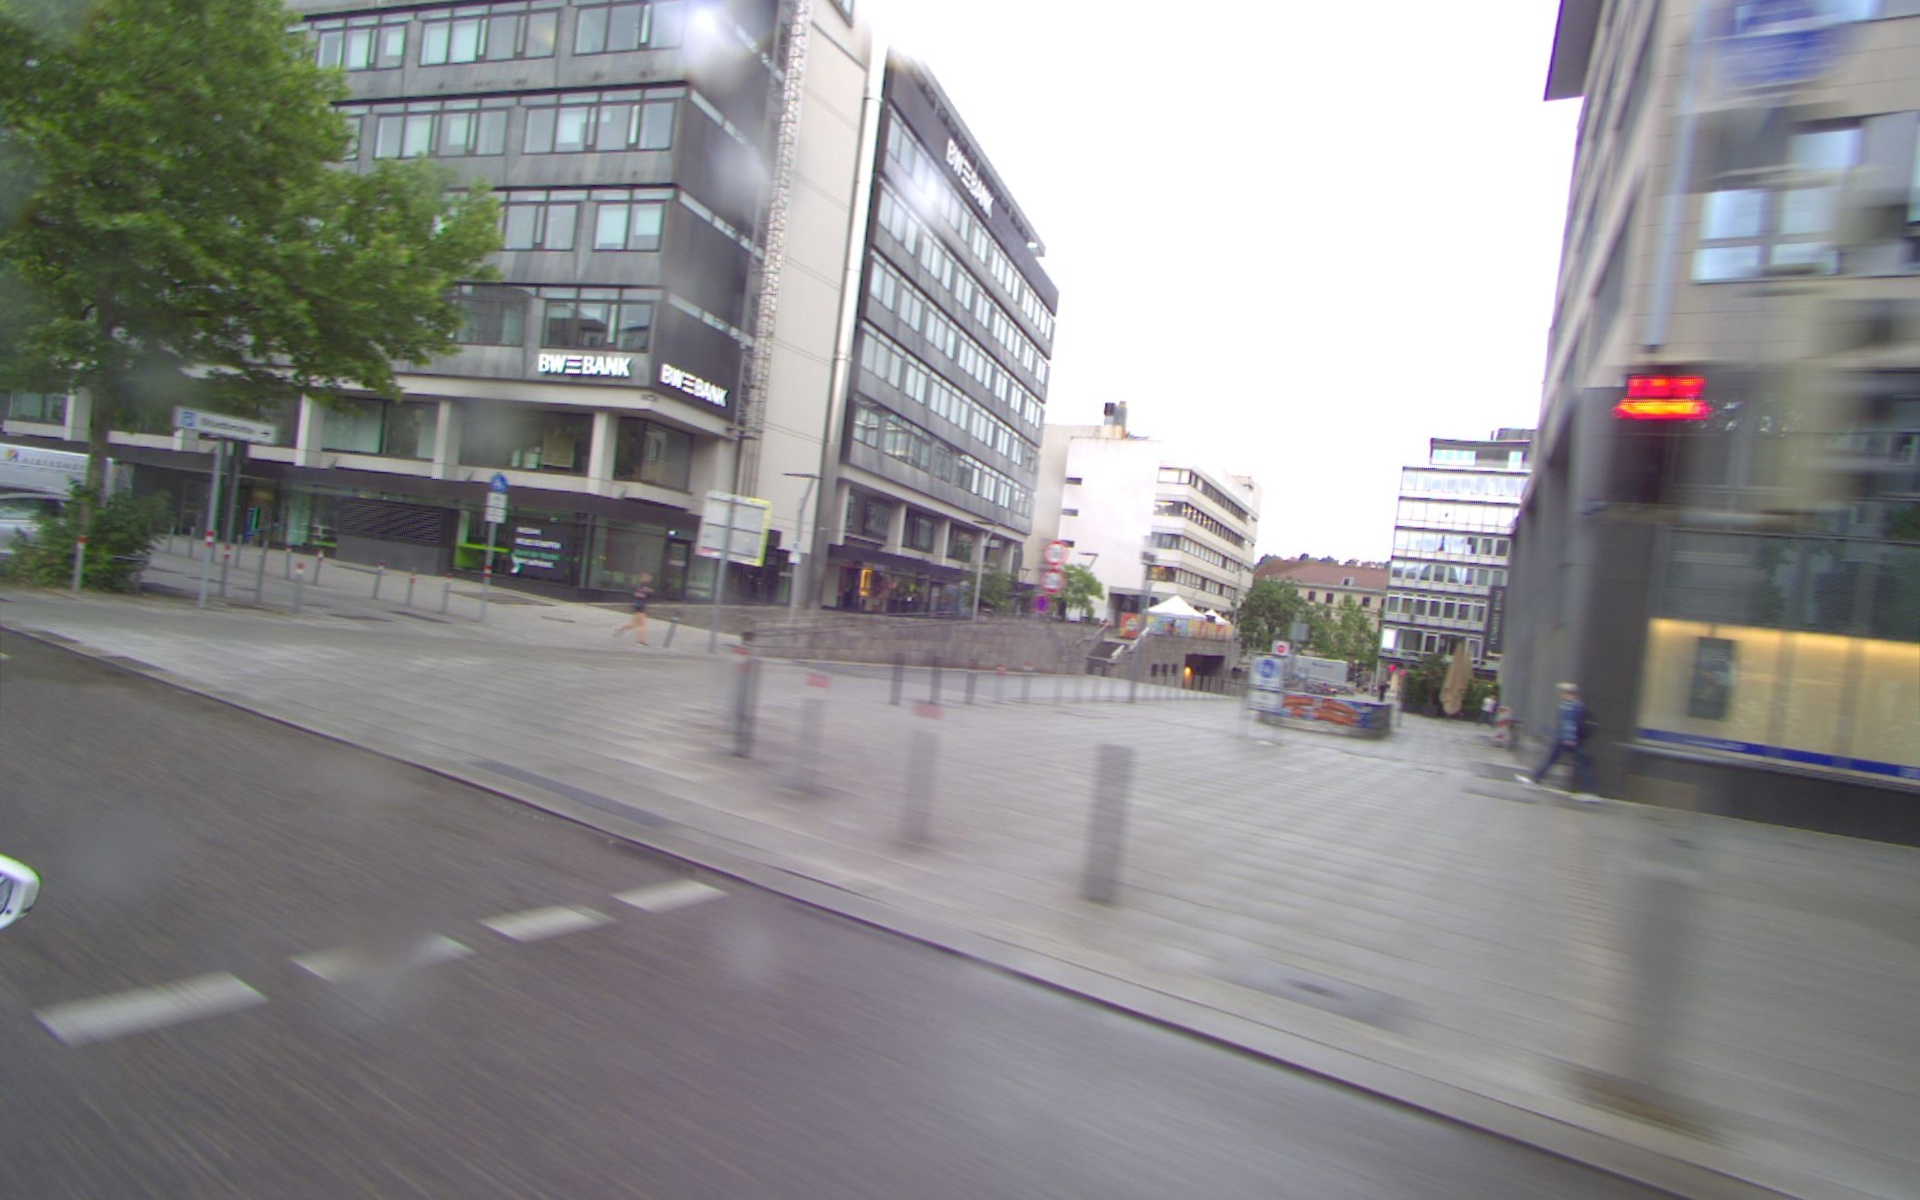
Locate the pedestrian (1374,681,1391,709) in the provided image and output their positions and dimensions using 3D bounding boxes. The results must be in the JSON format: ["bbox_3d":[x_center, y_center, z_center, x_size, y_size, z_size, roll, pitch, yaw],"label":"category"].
[{"bbox_3d":[26.609,5.972,63.379,0.677,1.651,0.683,7,-1,34],"label":"pedestrian"}]

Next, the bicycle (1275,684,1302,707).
[{"bbox_3d":[16.957,4.909,51.888,1.176,1.052,0.350,6,-1,31],"label":"bicycle"}]

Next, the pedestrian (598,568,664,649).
[{"bbox_3d":[-7.665,0.200,23.502,1.167,1.716,0.807,7,-1,-9],"label":"pedestrian"}]

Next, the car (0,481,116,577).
[{"bbox_3d":[-19.801,-1.594,20.035,4.228,1.687,1.803,8,-1,-32],"label":"car"}]

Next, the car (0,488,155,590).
[{"bbox_3d":[-17.428,-1.234,18.774,3.633,1.565,1.696,8,-1,-39],"label":"car"}]

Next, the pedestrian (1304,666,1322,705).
[{"bbox_3d":[18.928,4.587,53.985,0.562,2.038,0.705,7,0,31],"label":"pedestrian"}]

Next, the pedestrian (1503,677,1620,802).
[{"bbox_3d":[10.064,2.325,16.864,0.910,1.872,1.267,7,-1,-31],"label":"pedestrian"}]

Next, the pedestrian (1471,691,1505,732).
[{"bbox_3d":[26.285,5.554,50.112,0.718,1.852,1.081,7,0,-23],"label":"pedestrian"}]

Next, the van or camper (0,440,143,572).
[{"bbox_3d":[-22.087,-2.296,22.080,6.022,2.589,2.088,7,-1,-32],"label":"van or camper"}]

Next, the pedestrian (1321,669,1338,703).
[{"bbox_3d":[22.745,5.309,61.924,0.633,2.038,0.705,7,0,30],"label":"pedestrian"}]

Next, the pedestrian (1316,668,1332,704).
[{"bbox_3d":[21.309,5.057,58.890,0.562,2.038,0.705,7,0,31],"label":"pedestrian"}]
